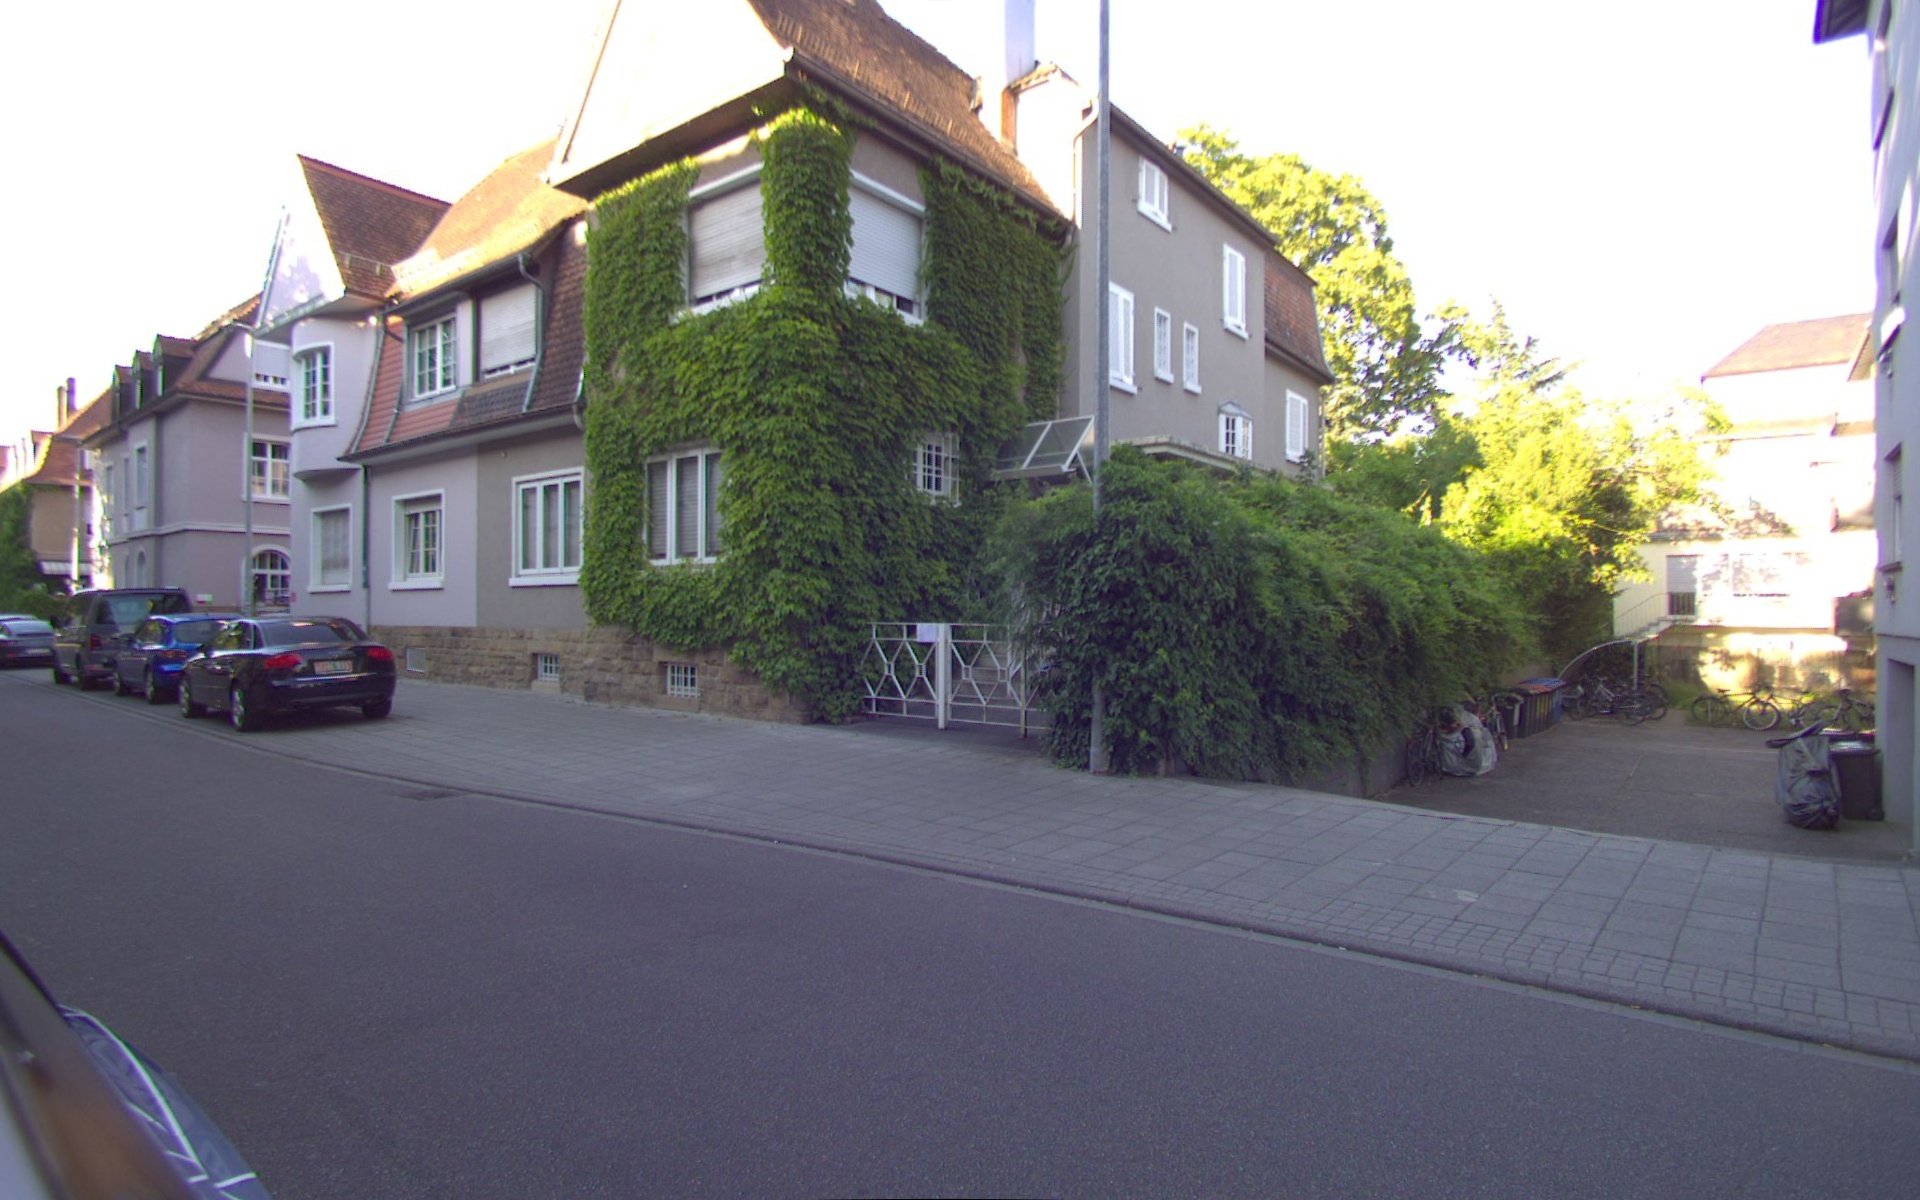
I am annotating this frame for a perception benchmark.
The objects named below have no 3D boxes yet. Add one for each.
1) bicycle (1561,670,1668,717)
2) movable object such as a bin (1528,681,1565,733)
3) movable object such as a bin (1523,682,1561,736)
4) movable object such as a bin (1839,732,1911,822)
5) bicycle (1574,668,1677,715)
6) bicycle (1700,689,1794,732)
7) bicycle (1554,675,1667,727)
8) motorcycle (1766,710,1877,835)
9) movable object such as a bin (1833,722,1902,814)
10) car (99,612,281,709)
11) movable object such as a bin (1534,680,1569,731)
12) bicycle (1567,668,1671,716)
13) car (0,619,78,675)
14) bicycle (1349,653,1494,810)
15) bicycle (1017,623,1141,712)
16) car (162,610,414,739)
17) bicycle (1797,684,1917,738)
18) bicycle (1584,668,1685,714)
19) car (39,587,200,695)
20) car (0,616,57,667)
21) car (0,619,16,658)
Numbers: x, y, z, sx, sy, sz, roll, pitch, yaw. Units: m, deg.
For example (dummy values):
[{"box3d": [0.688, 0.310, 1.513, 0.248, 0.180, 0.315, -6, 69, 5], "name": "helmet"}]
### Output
[{"box3d": [17.506, 2.481, 27.120, 2.338, 1.142, 0.685, -1, -4, 42], "name": "bicycle"}, {"box3d": [13.178, 2.391, 22.723, 0.611, 1.123, 0.792, -1, -4, 37], "name": "movable object such as a bin"}, {"box3d": [12.702, 2.356, 22.080, 0.611, 1.123, 0.792, -1, -4, 37], "name": "movable object such as a bin"}, {"box3d": [11.716, 2.254, 12.972, 0.611, 1.045, 0.532, -1, -4, 37], "name": "movable object such as a bin"}, {"box3d": [18.616, 2.541, 28.341, 2.338, 1.186, 0.685, -1, -4, 42], "name": "bicycle"}, {"box3d": [18.893, 2.637, 24.307, 1.754, 0.886, 0.558, -1, -4, 42], "name": "bicycle"}, {"box3d": [16.240, 2.495, 25.309, 2.294, 1.142, 0.685, -1, -4, 42], "name": "bicycle"}, {"box3d": [10.707, 2.100, 12.631, 0.742, 1.305, 1.565, -1, -2, 30], "name": "motorcycle"}, {"box3d": [12.298, 2.258, 13.734, 0.611, 1.123, 0.792, -1, -4, 37], "name": "movable object such as a bin"}, {"box3d": [-13.638, 0.978, 17.851, 4.060, 1.457, 1.745, -1, 1, 41], "name": "car"}, {"box3d": [13.648, 2.423, 23.354, 0.611, 1.123, 0.792, -1, -4, 37], "name": "movable object such as a bin"}, {"box3d": [18.057, 2.500, 27.772, 2.338, 1.186, 0.685, -1, -4, 42], "name": "bicycle"}, {"box3d": [-26.160, 1.263, 28.303, 4.063, 1.394, 1.906, -1, 1, 44], "name": "car"}, {"box3d": [6.824, 1.769, 14.759, 0.971, 1.907, 4.138, -1, -2, 38], "name": "bicycle"}, {"box3d": [1.700, 0.905, 14.191, 0.476, 1.111, 2.172, -1, -1, 45], "name": "bicycle"}, {"box3d": [-9.413, 0.908, 14.036, 4.426, 1.457, 1.783, -1, 1, 41], "name": "car"}, {"box3d": [20.370, 2.511, 23.032, 2.005, 1.080, 0.558, -1, -4, 42], "name": "bicycle"}, {"box3d": [19.200, 2.569, 28.836, 2.338, 1.186, 0.685, -1, -4, 42], "name": "bicycle"}, {"box3d": [-17.526, 0.784, 21.021, 4.610, 1.990, 1.819, -1, 1, 41], "name": "car"}, {"box3d": [-30.173, 1.293, 32.037, 4.061, 1.478, 1.907, -1, 1, 42], "name": "car"}, {"box3d": [-36.325, 1.437, 37.515, 3.676, 1.372, 1.641, -1, 1, 42], "name": "car"}]
